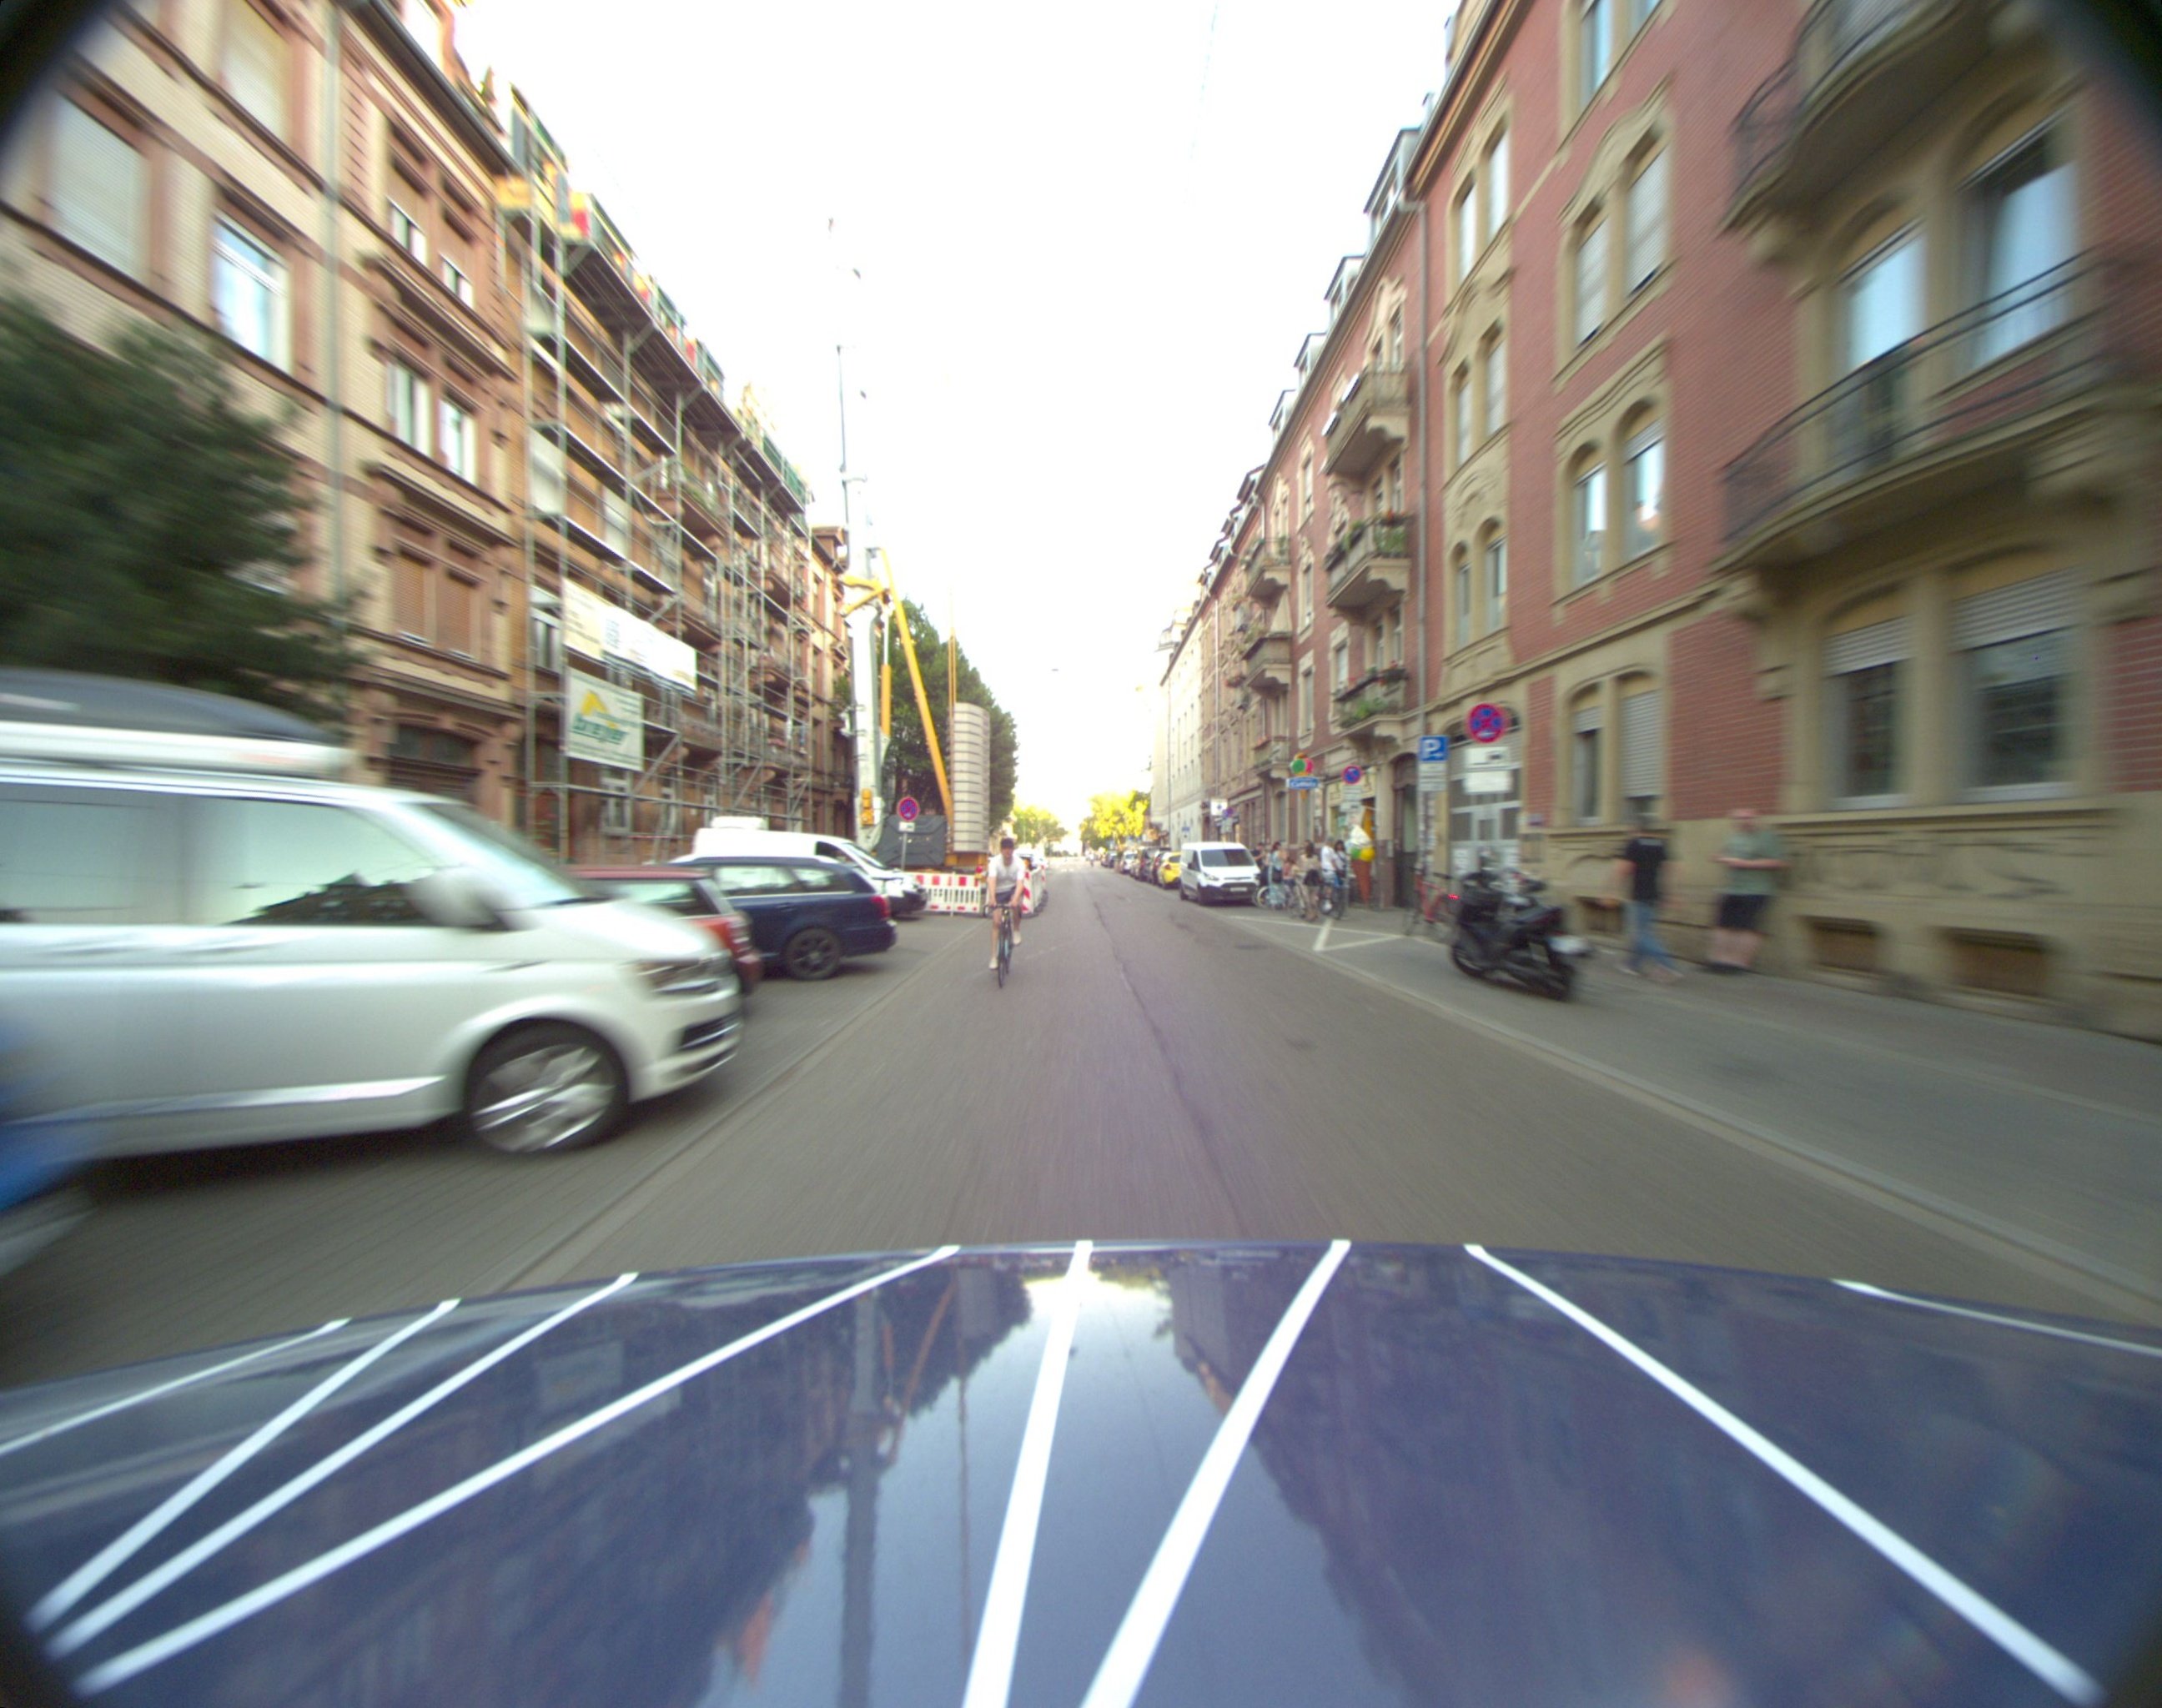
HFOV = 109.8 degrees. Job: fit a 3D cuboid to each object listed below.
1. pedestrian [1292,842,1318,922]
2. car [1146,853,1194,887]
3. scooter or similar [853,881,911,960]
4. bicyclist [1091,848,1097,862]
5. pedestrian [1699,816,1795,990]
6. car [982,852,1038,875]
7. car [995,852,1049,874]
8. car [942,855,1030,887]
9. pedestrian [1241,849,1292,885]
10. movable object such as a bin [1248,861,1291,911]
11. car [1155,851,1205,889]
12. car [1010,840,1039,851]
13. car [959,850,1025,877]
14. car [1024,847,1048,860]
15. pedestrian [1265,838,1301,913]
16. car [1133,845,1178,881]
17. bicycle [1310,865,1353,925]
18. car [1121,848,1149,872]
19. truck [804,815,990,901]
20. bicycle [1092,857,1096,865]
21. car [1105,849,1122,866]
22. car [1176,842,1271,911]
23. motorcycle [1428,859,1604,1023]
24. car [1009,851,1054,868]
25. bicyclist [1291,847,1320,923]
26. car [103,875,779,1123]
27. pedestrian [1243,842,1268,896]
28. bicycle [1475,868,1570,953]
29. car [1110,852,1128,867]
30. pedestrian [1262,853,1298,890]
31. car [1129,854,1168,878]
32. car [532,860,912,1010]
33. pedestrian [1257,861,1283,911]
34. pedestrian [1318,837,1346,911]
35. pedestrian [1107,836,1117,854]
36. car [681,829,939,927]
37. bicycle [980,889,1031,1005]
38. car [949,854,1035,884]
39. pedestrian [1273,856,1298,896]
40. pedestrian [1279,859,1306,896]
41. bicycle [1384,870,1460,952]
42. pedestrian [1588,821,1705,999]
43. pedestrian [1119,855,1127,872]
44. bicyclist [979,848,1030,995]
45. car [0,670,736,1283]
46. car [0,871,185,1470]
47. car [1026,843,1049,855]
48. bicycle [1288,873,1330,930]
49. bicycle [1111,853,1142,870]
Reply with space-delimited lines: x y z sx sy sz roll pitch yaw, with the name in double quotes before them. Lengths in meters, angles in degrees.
"pedestrian" 4.843 0.602 16.450 0.419 1.699 0.350 -2 1 -5
"car" 4.291 0.740 37.177 1.932 1.587 3.969 -1 0 1
"scooter or similar" -3.241 1.031 12.293 0.658 1.143 1.481 1 0 -24
"bicyclist" 1.551 0.108 92.208 0.624 1.682 1.003 -2 1 -1
"pedestrian" 7.101 0.501 8.125 0.464 1.779 0.642 -2 1 3
"car" -5.432 0.721 58.003 3.839 1.556 1.674 2 1 -22
"car" -4.695 0.709 60.679 3.841 1.556 1.673 2 1 -30
"car" -4.691 0.832 37.677 4.003 1.479 1.680 2 0 -34
"pedestrian" 6.354 0.437 26.127 1.566 1.196 0.641 -2 1 -2
"movable object such as a bin" 4.875 0.818 19.656 0.890 1.244 0.776 -2 1 0
"car" 4.199 0.655 32.574 1.709 1.521 3.792 -1 0 1
"car" -8.433 -1.259 113.067 3.841 1.510 1.673 2 1 -29
"car" -5.385 0.597 46.021 3.638 1.508 1.621 2 0 -28
"car" -8.290 -0.093 139.319 4.202 2.280 1.673 2 1 -40
"pedestrian" 5.044 0.519 18.982 0.600 1.804 0.720 -2 1 -9
"car" 4.093 0.478 42.451 1.932 1.872 4.904 -1 0 -1
"bicycle" 5.424 0.857 16.520 0.466 1.148 2.001 -1 1 7
"car" 3.992 0.434 56.975 1.730 1.638 3.916 -2 0 0
"truck" -7.021 0.145 29.571 6.495 3.059 2.524 -2 1 3
"bicycle" 1.563 0.871 92.349 0.477 0.938 1.895 -2 1 -1
"car" 3.773 0.340 87.887 1.786 1.860 4.457 -2 1 1
"car" 4.062 0.566 22.423 1.775 1.778 4.585 -1 1 -2
"motorcycle" 4.309 0.783 7.731 0.686 1.397 2.014 -2 1 2
"car" -4.688 0.513 71.674 3.842 1.510 1.673 2 1 -33
"bicyclist" 4.729 0.642 16.027 0.467 1.581 0.487 -2 1 3
"car" -4.778 0.931 6.403 3.874 1.400 1.754 0 1 -33
"pedestrian" 5.598 0.472 24.402 0.619 1.720 0.586 -1 2 28
"bicycle" 6.860 0.835 11.901 0.413 1.153 1.837 -2 1 1
"car" 4.110 0.563 82.913 1.786 1.537 3.999 -2 1 1
"pedestrian" 6.688 0.568 25.555 1.041 1.196 0.503 -2 1 -2
"car" 4.196 0.724 47.885 1.932 1.422 4.480 -1 0 -1
"car" -4.242 0.845 9.404 3.873 1.507 1.844 0 0 -26
"pedestrian" 4.896 0.817 19.688 0.479 1.244 0.652 -2 1 0
"pedestrian" 6.233 0.487 18.871 0.598 1.804 0.721 -1 1 18
"pedestrian" 4.627 -1.337 113.253 1.445 2.725 1.011 -2 1 -2
"car" -6.047 0.540 17.457 5.186 1.944 1.899 2 -1 -1
"bicycle" -0.916 1.063 9.231 0.521 1.148 1.782 -2 1 -6
"car" -4.751 0.808 40.662 4.179 1.479 1.826 2 0 -36
"pedestrian" 6.716 0.716 24.981 0.620 1.244 0.585 -2 1 -2
"pedestrian" 6.702 0.726 24.091 0.633 1.133 0.573 -2 1 -2
"bicycle" 5.451 0.870 12.248 0.413 1.153 1.837 -2 1 1
"pedestrian" 6.071 0.569 8.208 0.683 1.800 0.962 -1 1 14
"pedestrian" 3.444 0.755 61.843 0.571 1.315 0.496 -2 1 -1
"bicyclist" -0.922 0.779 9.193 0.529 1.694 0.789 -2 1 -6
"car" -4.496 0.473 3.844 4.946 2.348 1.996 0 0 -26
"car" -4.687 0.842 0.973 4.173 1.581 1.881 0 0 -29
"car" -8.387 -0.916 147.749 4.202 2.246 1.673 2 1 -36
"bicycle" 4.732 0.958 15.810 0.467 1.062 1.520 -2 1 3
"bicycle" 4.059 0.687 67.418 2.619 1.390 0.602 -1 1 12
